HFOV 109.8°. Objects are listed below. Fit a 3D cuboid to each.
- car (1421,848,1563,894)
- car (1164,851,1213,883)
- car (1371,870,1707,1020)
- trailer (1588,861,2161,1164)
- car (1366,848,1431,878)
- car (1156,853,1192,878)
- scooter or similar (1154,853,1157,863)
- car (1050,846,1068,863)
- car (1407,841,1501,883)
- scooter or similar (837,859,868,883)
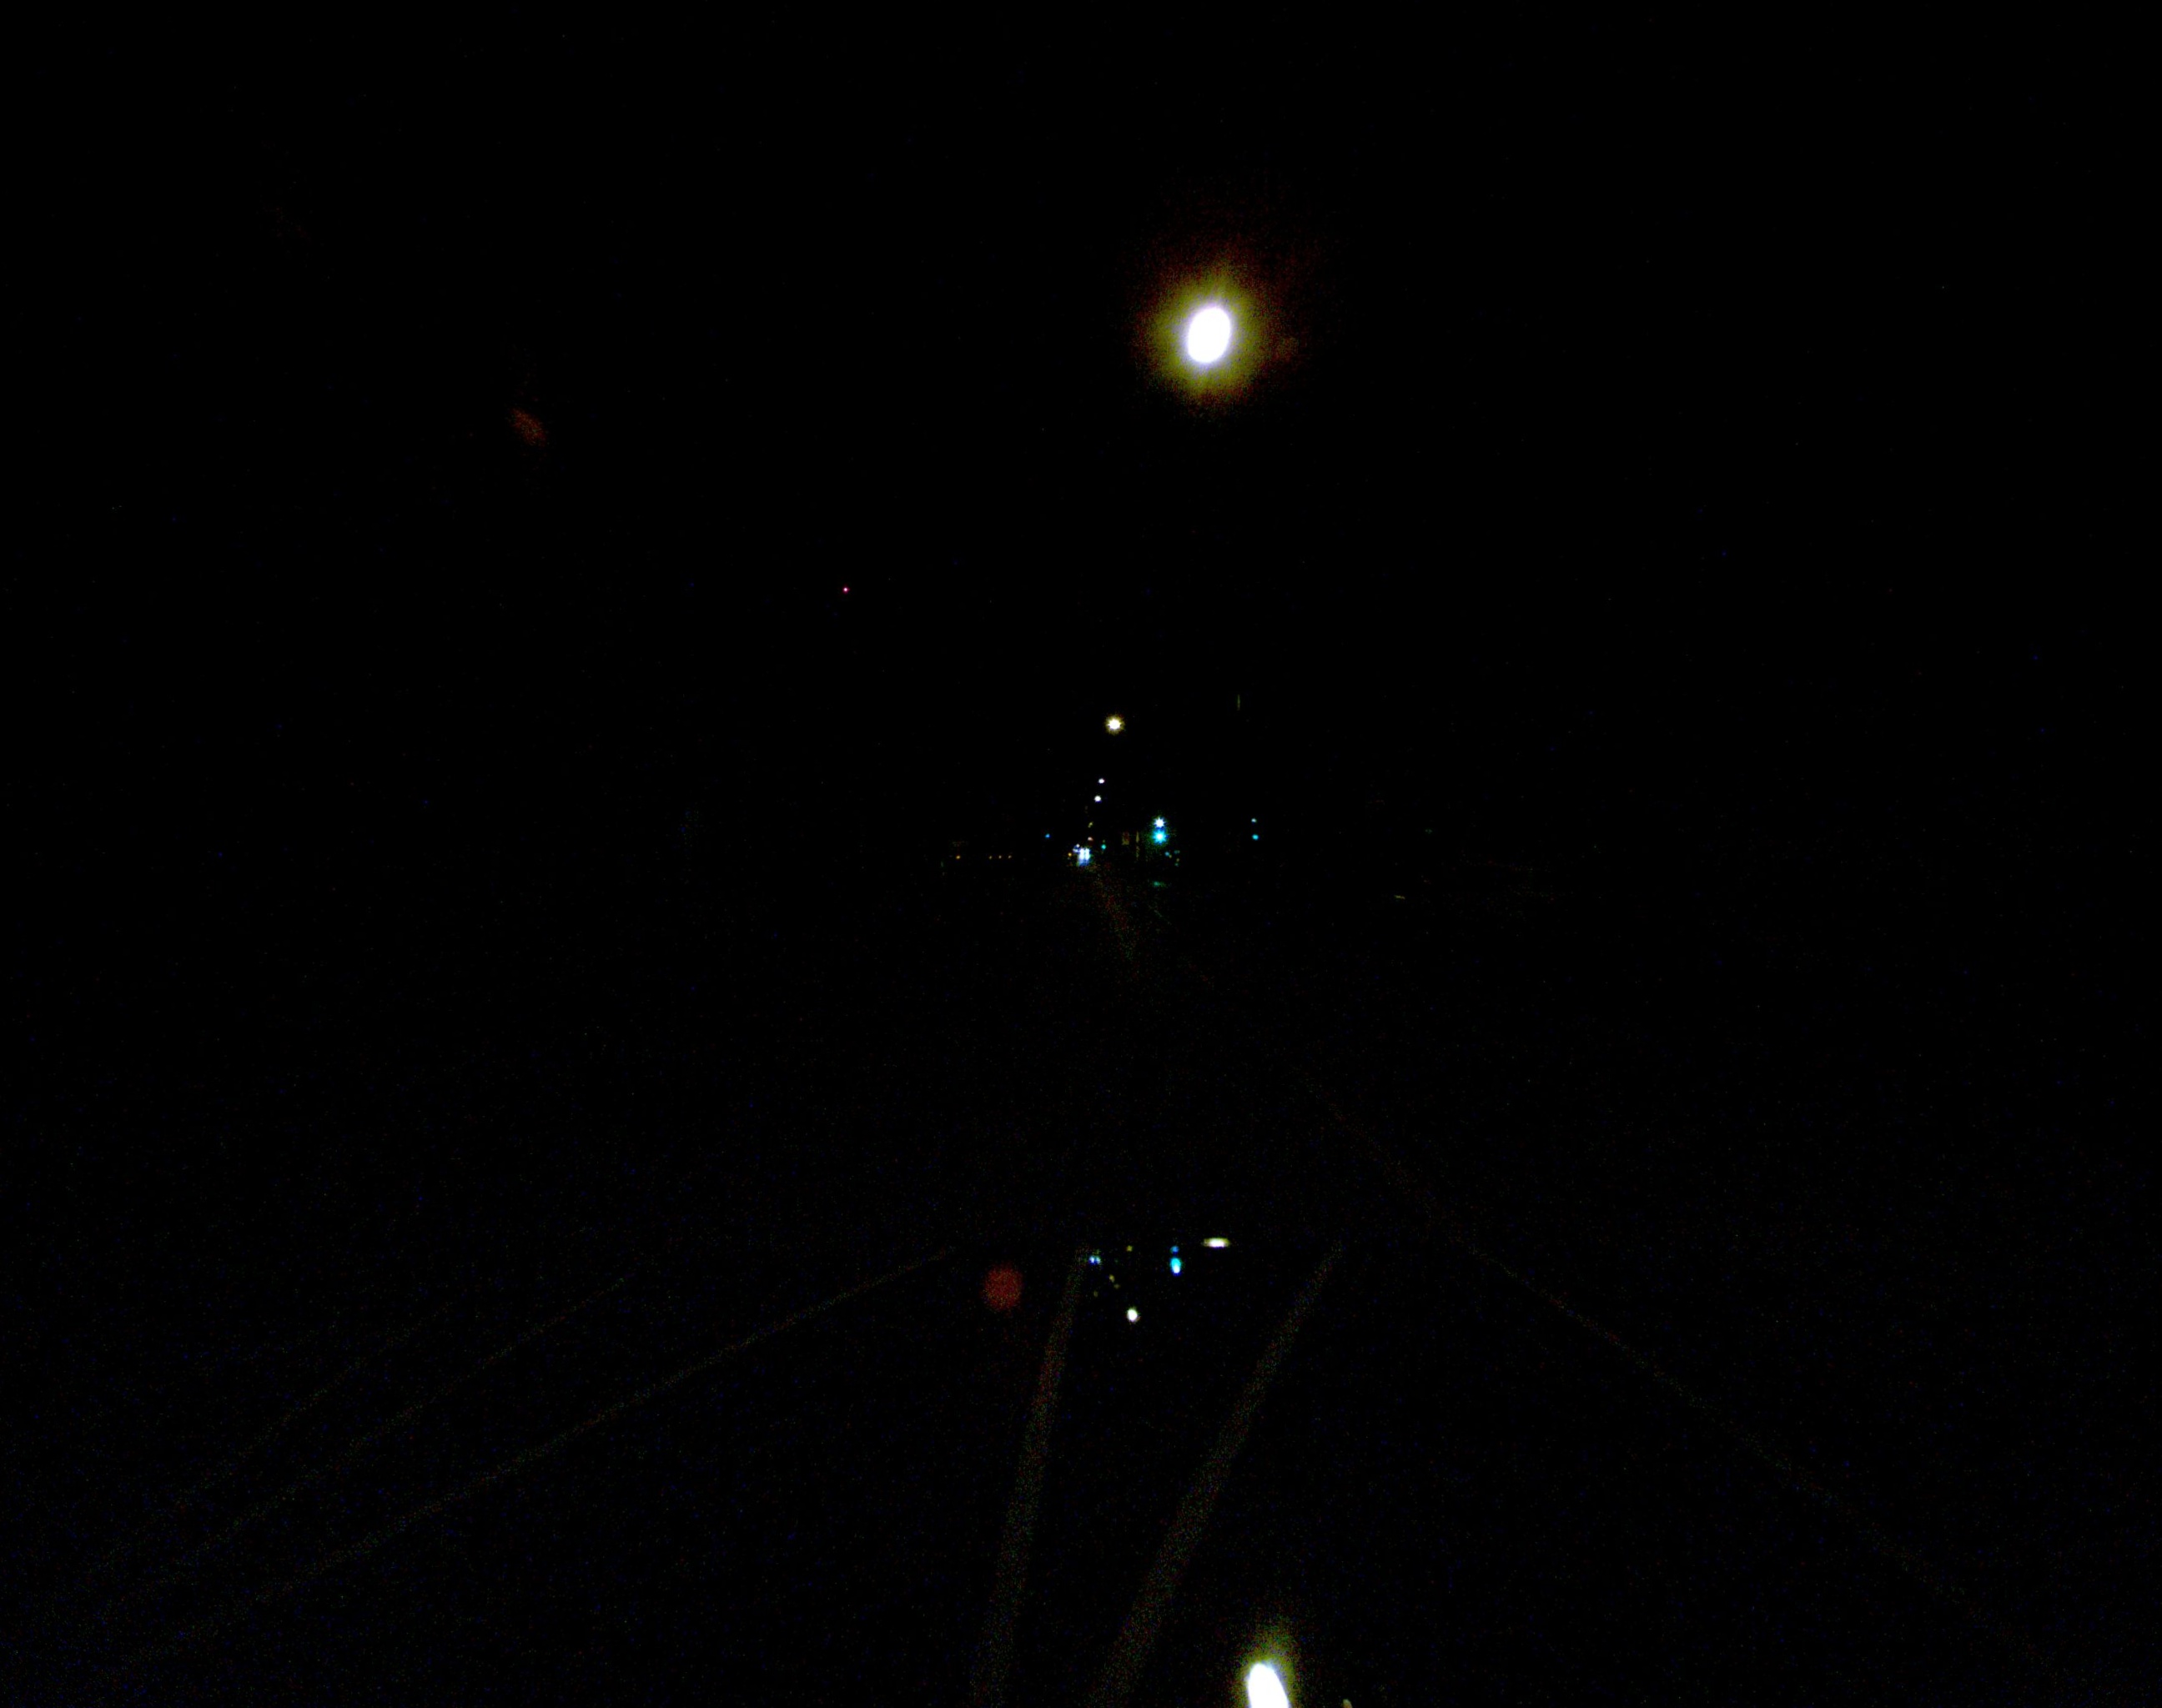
[{"bbox_3d":[14.258,0.590,26.589,3.994,1.417,1.763,-2,1,10],"label":"car"},{"bbox_3d":[5.937,0.695,42.442,1.853,1.640,4.670,0,0,-3],"label":"car"},{"bbox_3d":[5.658,1.006,10.186,1.819,1.476,4.347,0,0,-1],"label":"car"},{"bbox_3d":[5.887,0.909,5.982,1.641,1.630,3.439,0,1,4],"label":"trailer"},{"bbox_3d":[15.156,0.394,36.467,1.560,1.309,3.562,0,1,-1],"label":"car"},{"bbox_3d":[5.867,0.704,48.317,1.652,1.506,3.700,0,1,-3],"label":"car"},{"bbox_3d":[9.200,0.432,93.912,0.332,1.218,1.335,0,1,2],"label":"scooter or similar"},{"bbox_3d":[-2.502,0.076,84.604,1.916,1.816,4.899,1,0,-2],"label":"car"},{"bbox_3d":[15.289,0.289,31.377,1.761,1.529,4.186,-3,1,0],"label":"car"},{"bbox_3d":[-11.346,0.826,37.761,0.499,1.139,1.669,3,2,25],"label":"scooter or similar"}]
